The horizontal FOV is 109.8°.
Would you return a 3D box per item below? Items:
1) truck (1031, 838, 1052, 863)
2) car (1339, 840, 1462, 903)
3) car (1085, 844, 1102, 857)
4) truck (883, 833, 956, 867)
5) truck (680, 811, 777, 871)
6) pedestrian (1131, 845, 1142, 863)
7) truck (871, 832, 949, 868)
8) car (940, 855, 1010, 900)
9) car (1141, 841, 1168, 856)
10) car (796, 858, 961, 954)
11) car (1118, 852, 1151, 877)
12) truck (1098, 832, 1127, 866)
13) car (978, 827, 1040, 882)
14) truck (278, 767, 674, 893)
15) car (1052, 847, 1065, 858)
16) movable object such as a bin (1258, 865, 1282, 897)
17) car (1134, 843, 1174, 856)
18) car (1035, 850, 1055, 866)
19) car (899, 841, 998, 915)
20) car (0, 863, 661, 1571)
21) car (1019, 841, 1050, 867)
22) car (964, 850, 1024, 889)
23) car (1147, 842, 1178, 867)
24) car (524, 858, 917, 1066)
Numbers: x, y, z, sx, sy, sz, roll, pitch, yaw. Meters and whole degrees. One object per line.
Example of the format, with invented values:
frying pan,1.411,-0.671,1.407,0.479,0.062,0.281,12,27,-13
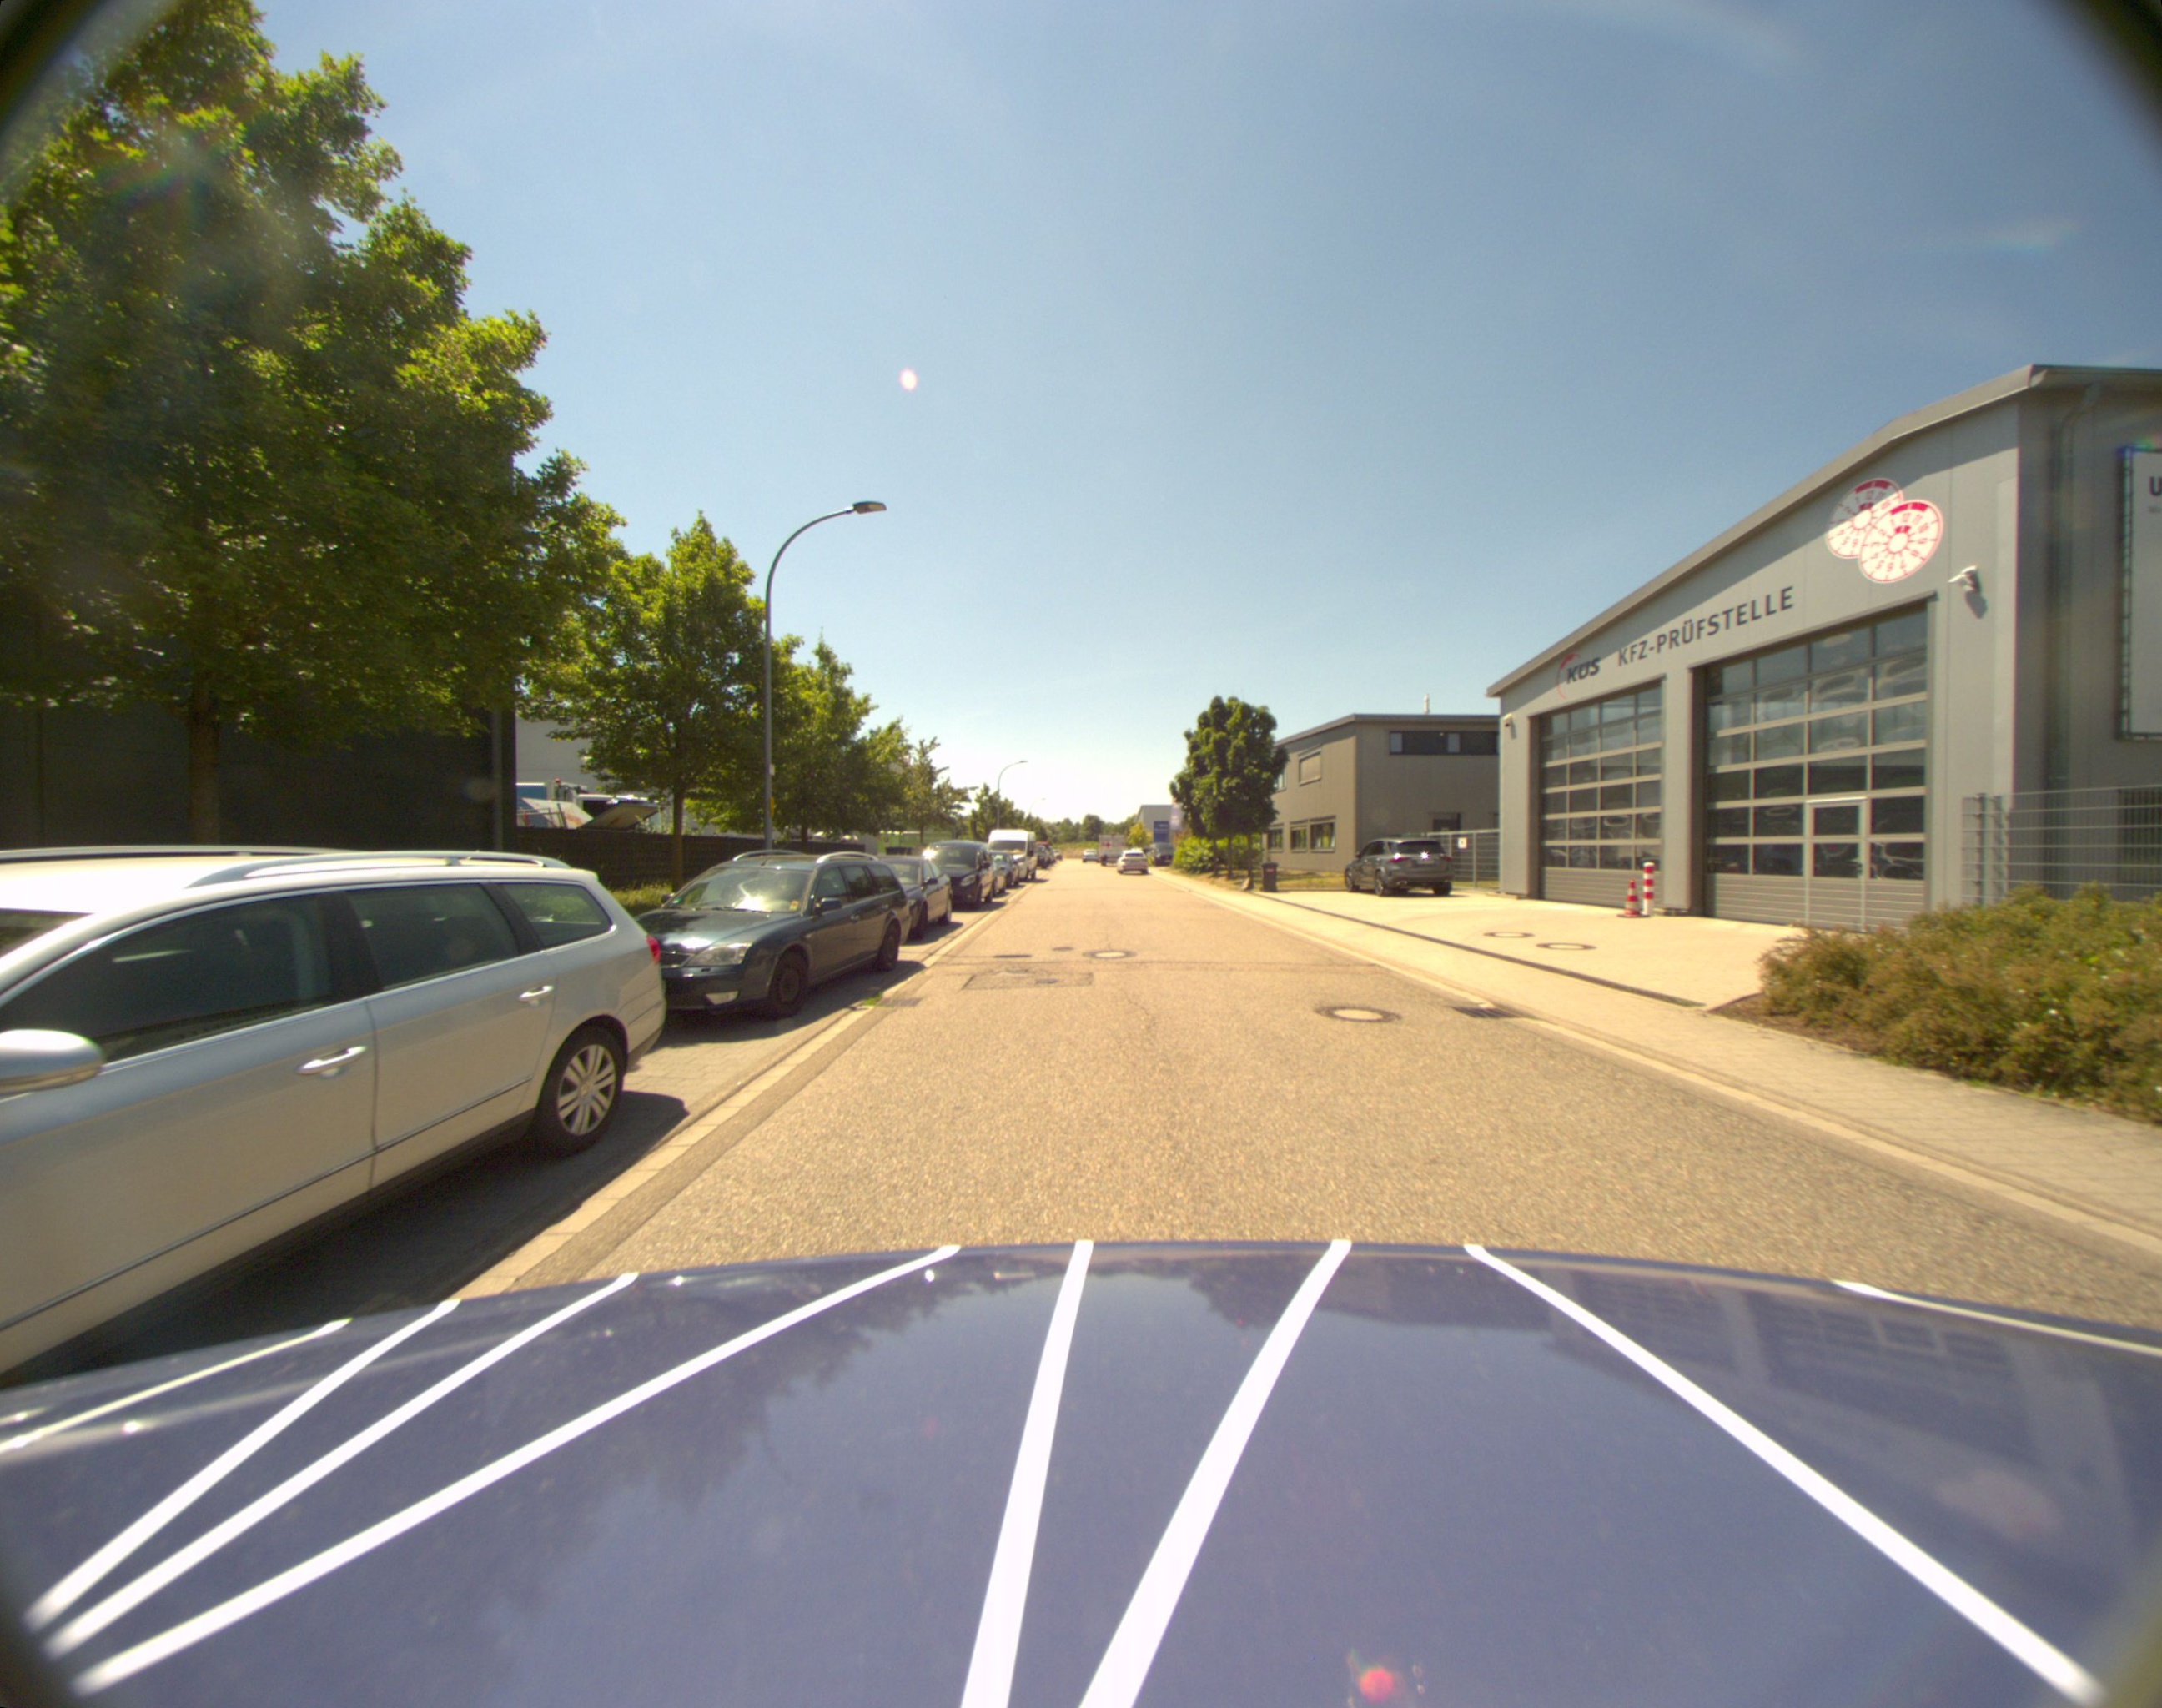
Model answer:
truck,-3.585,-0.291,69.685,1.683,2.169,4.389,2,1,-1
car,9.813,0.511,23.828,1.998,1.725,4.914,-2,0,3
car,1.410,-0.412,82.530,1.787,1.414,4.413,0,1,1
truck,-14.136,-0.361,66.704,5.919,2.855,2.305,0,1,-3
truck,-23.503,-0.885,50.887,5.075,3.853,2.803,0,2,0
pedestrian,4.960,-0.022,67.904,0.901,1.565,0.785,-2,1,1
truck,-13.977,-0.318,62.286,5.836,2.896,2.414,0,1,-1
car,-3.520,0.740,25.958,1.715,1.280,4.114,0,1,2
car,7.972,-0.585,82.163,2.748,1.509,1.535,0,1,-1
car,-3.586,0.832,14.413,1.855,1.423,4.711,0,1,0
car,3.320,0.605,47.947,1.734,1.450,4.490,-1,1,0
truck,2.828,-0.491,69.431,2.367,2.843,6.414,2,1,0
car,-3.456,-0.022,37.776,2.273,2.483,6.152,1,1,2
truck,-19.502,-0.690,25.290,10.012,3.800,3.034,1,1,-11
car,-3.416,-0.219,115.457,1.809,1.626,4.457,2,0,0
movable object such as a bin,6.536,0.913,26.302,0.581,1.059,0.765,-2,1,-1
car,8.157,-0.551,85.265,4.319,1.423,1.846,0,1,1
car,-3.545,0.374,75.252,1.702,1.375,4.836,2,1,0
car,-3.507,0.563,20.907,1.999,1.815,4.353,0,1,-1
car,-3.370,0.871,2.226,1.753,1.553,4.505,1,1,0
car,-3.504,0.008,58.364,1.998,1.874,5.155,1,1,0
car,-3.525,0.576,31.435,1.833,1.485,4.478,1,0,2
car,6.746,0.020,63.462,1.999,1.945,5.217,-1,1,0
car,-3.318,0.846,8.250,1.713,1.496,4.707,0,1,5
